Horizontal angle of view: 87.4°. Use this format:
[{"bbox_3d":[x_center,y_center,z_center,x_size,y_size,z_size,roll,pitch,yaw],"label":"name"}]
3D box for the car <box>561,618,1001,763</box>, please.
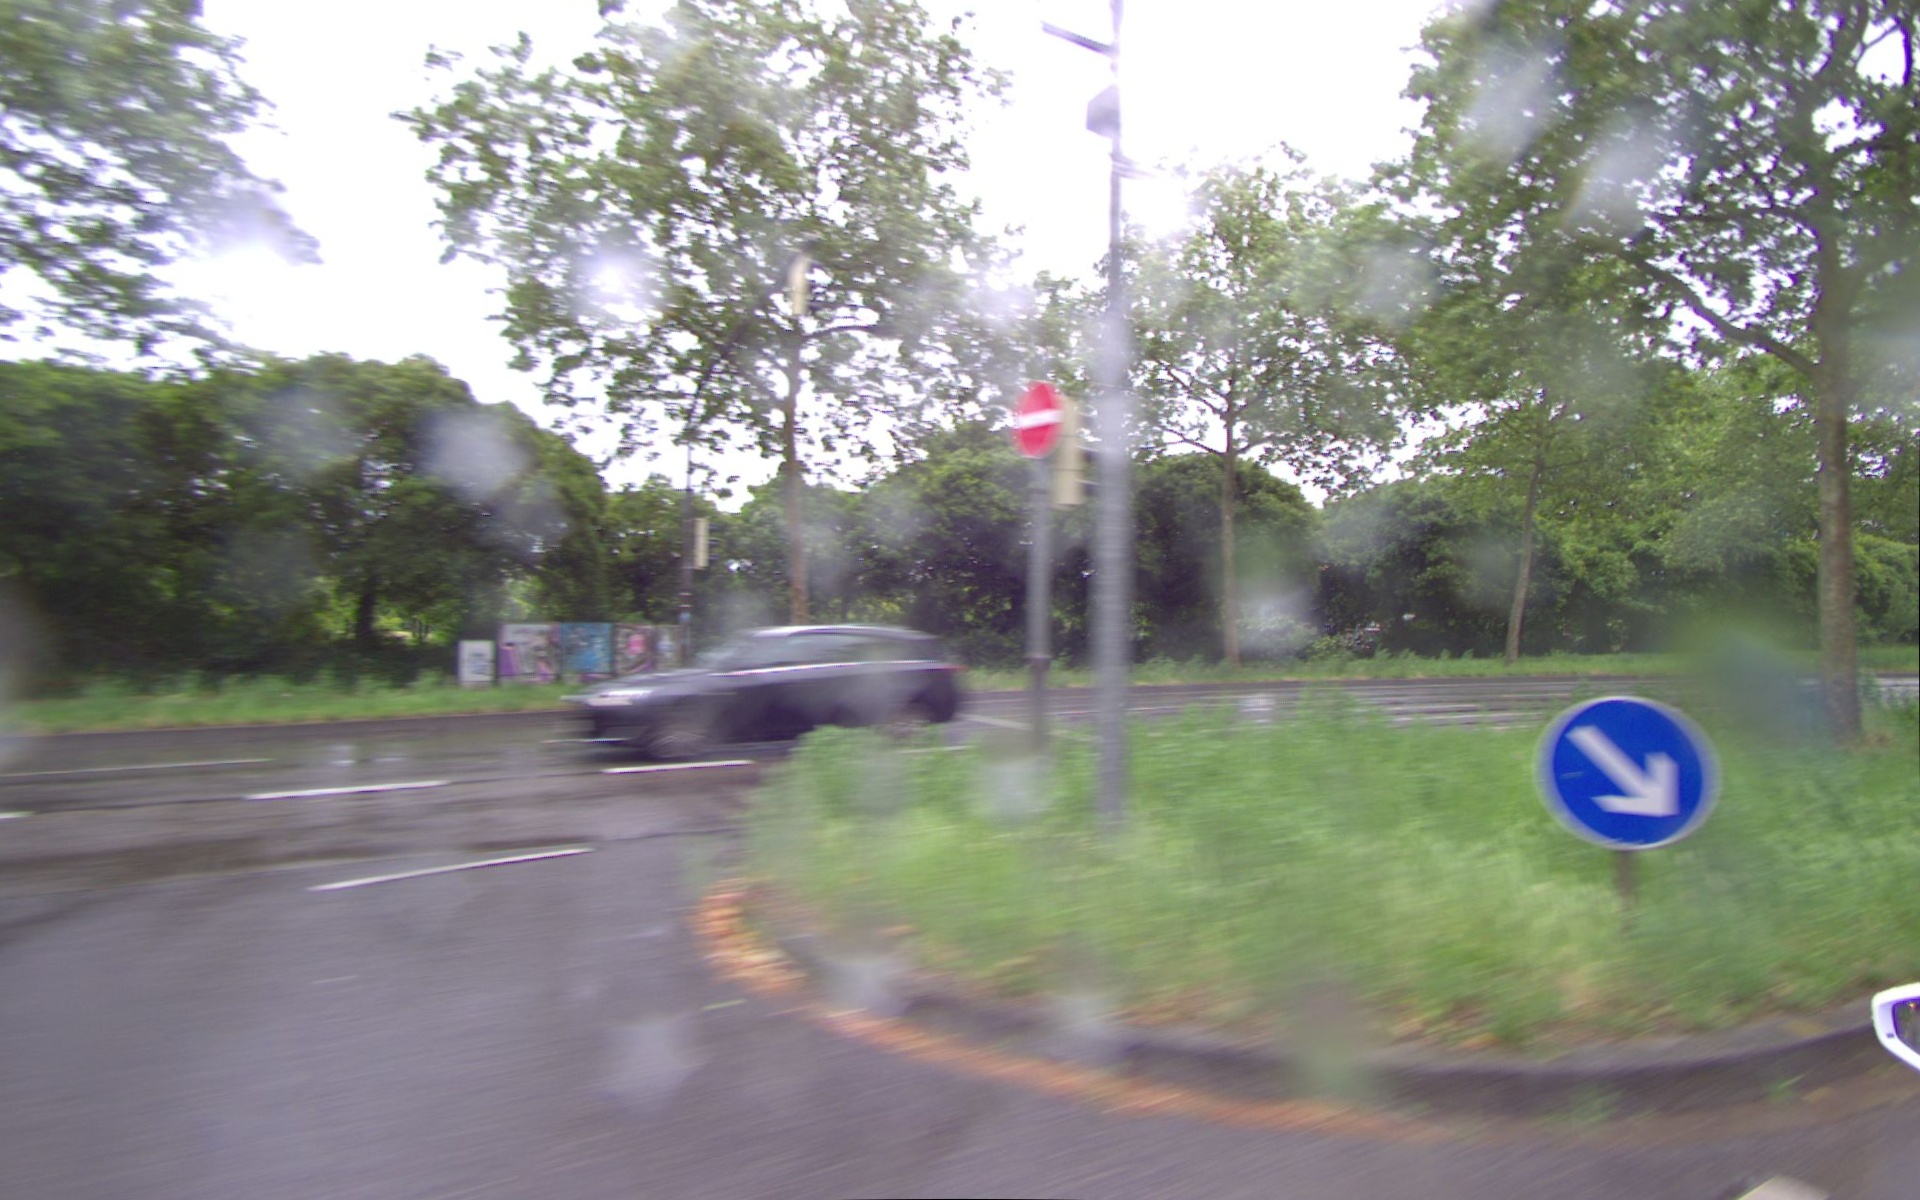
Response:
[{"bbox_3d":[-2.115,1.008,12.297,4.931,1.471,1.995,2,-2,-29],"label":"car"}]
